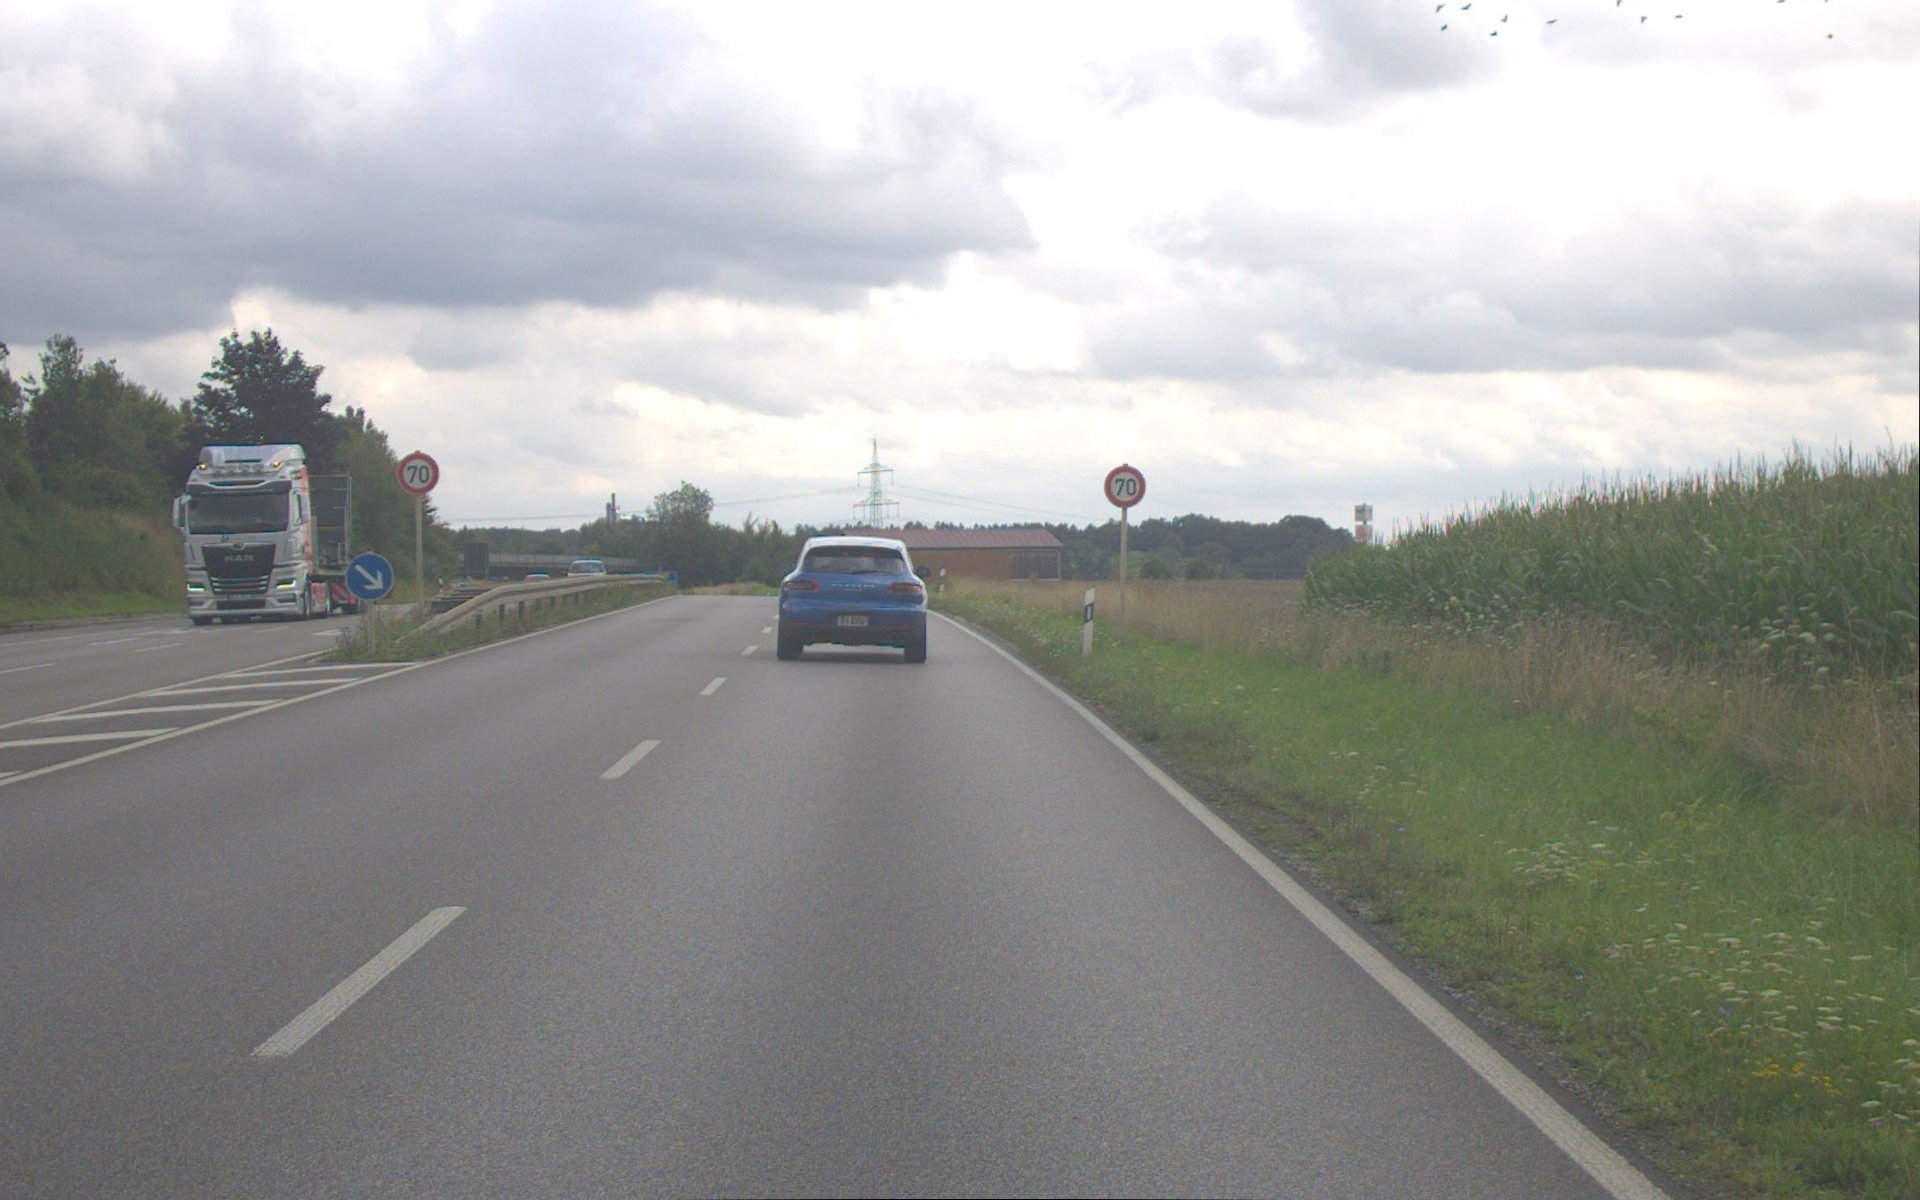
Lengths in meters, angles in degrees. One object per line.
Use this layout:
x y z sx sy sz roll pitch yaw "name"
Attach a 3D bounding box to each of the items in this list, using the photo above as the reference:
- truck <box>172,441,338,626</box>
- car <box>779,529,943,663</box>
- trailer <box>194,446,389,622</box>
-15.684 -1.504 76.811 2.802 3.983 5.287 0 1 -2 "truck"
-1.356 -0.079 45.626 2.033 1.655 4.544 1 1 -3 "car"
-15.986 -1.644 83.164 2.775 3.933 12.987 0 2 -3 "trailer"
